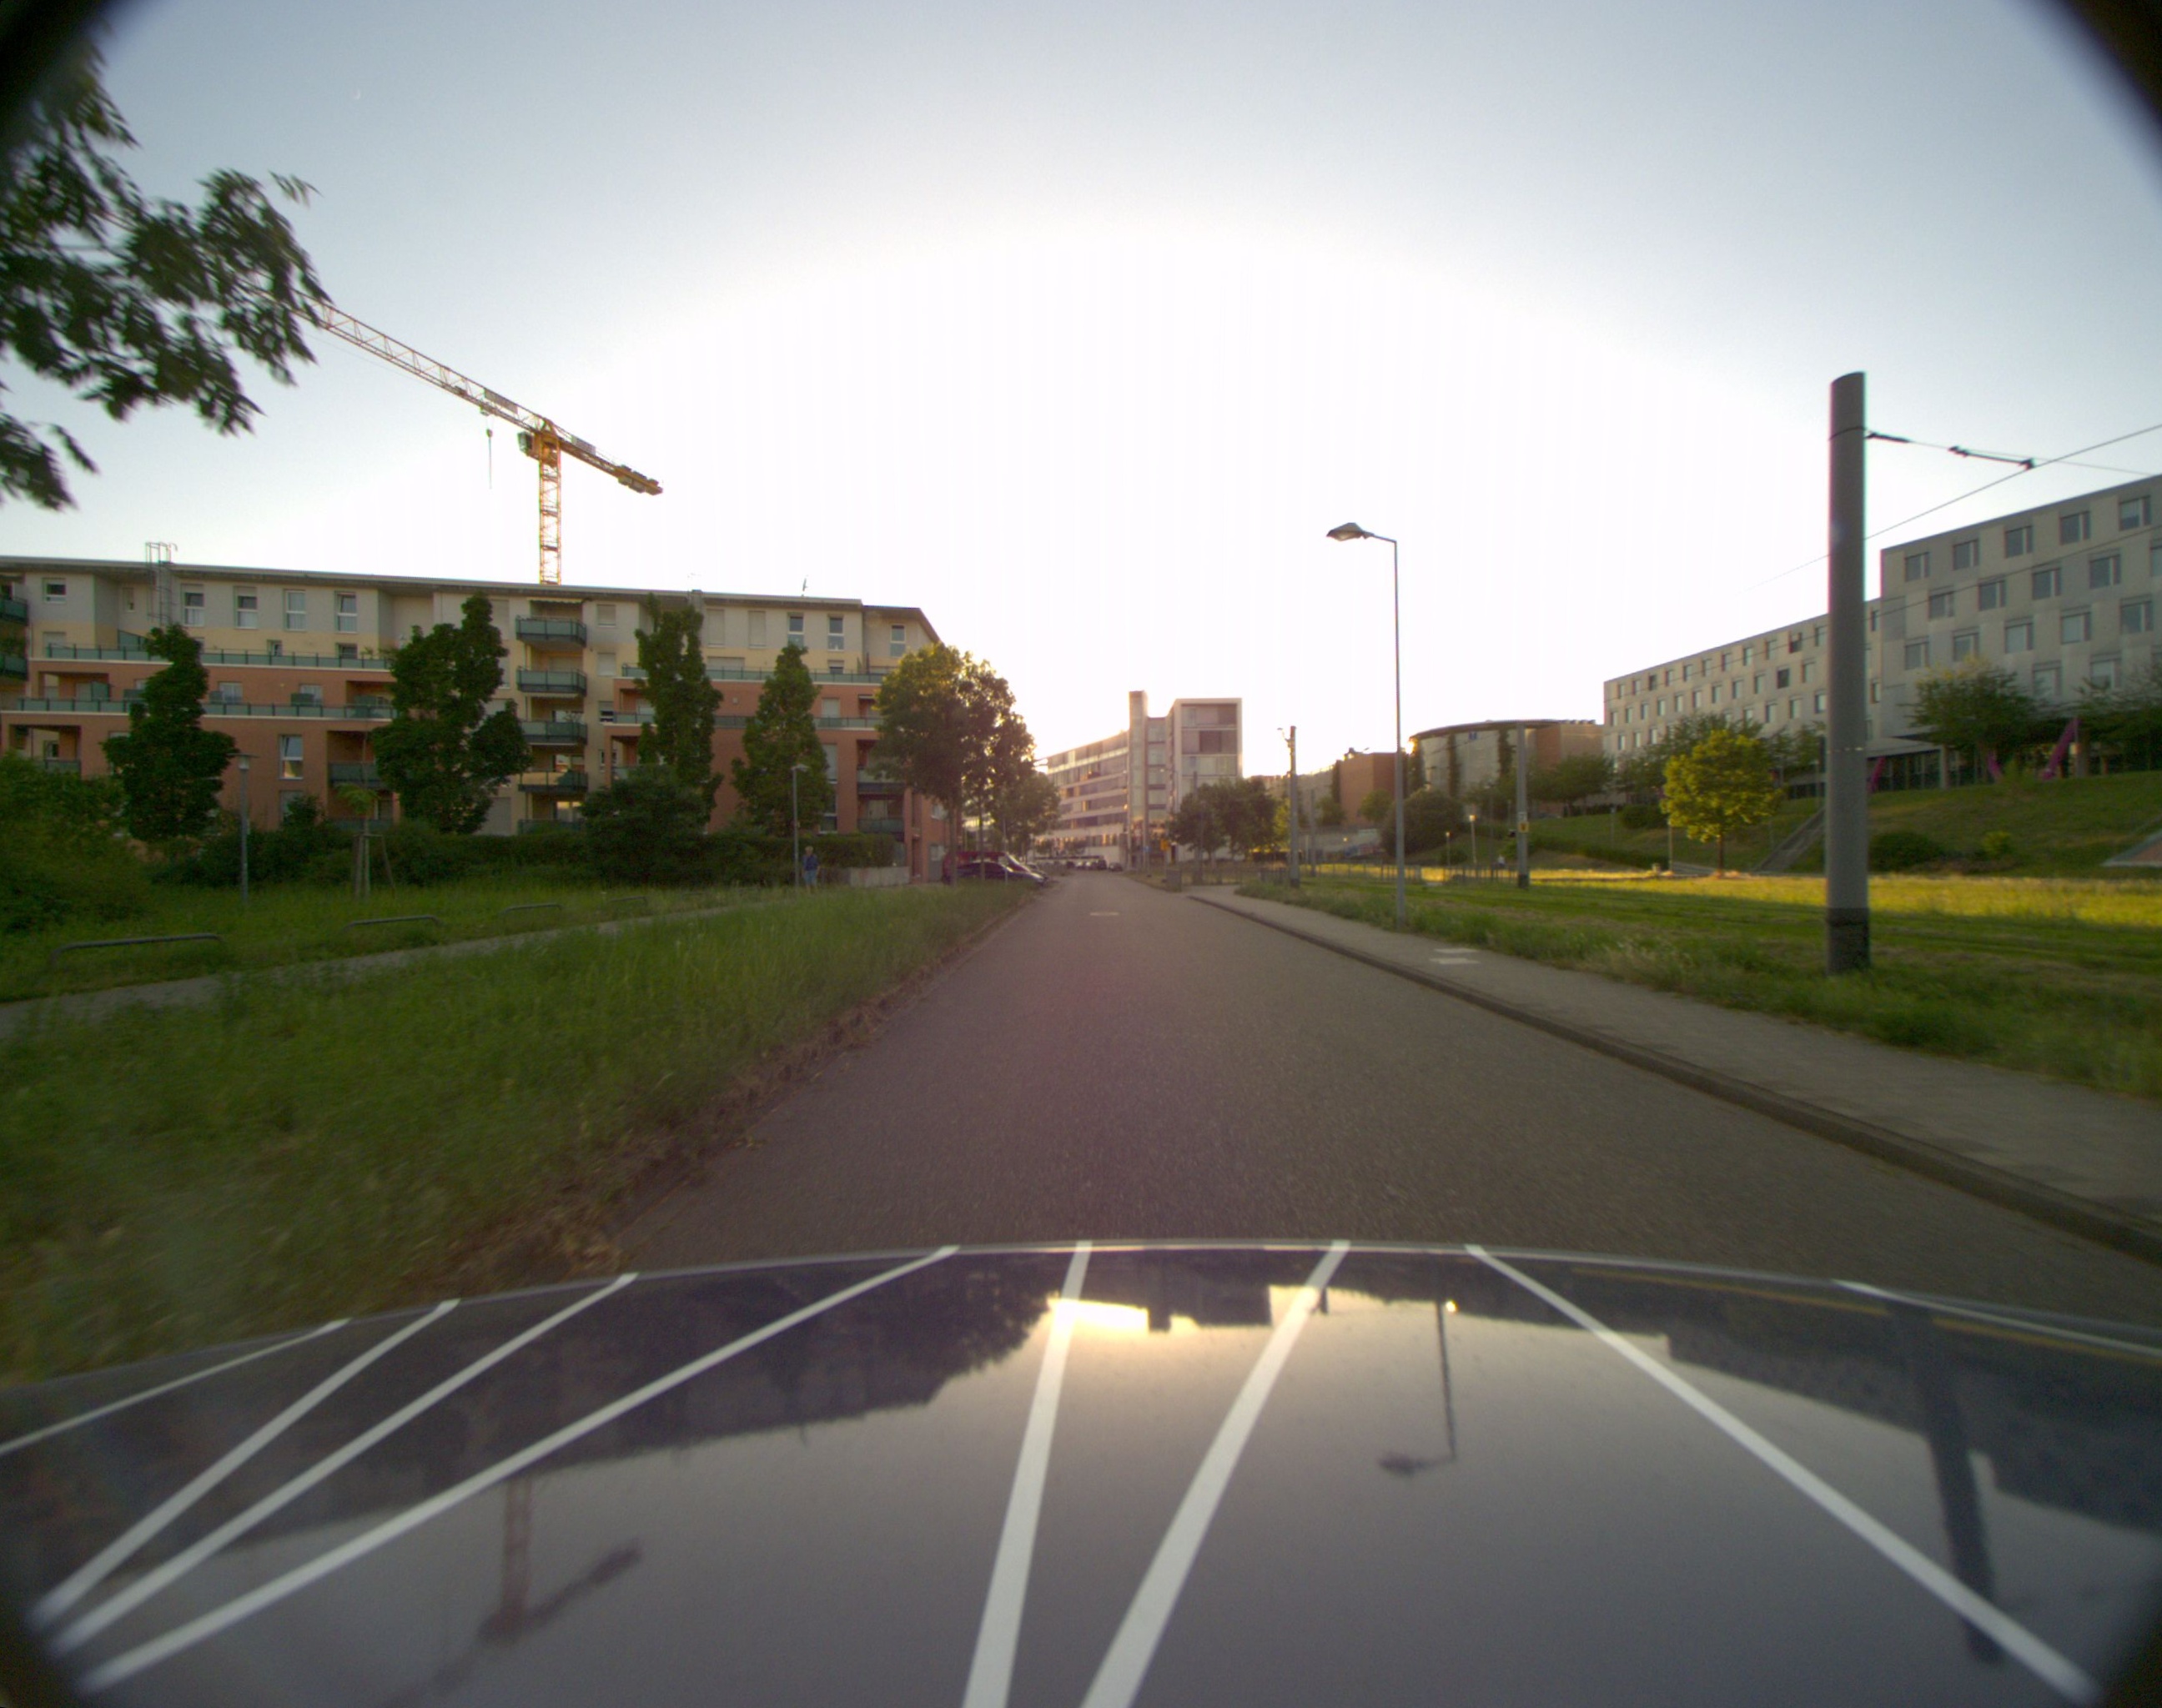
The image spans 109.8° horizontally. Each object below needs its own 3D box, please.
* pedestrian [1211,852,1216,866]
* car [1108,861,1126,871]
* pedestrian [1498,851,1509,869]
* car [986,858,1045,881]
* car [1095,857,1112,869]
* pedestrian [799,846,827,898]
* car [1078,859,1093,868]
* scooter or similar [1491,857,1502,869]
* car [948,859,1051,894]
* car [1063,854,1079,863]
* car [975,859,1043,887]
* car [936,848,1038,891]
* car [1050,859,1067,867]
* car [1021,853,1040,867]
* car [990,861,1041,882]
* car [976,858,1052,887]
[{"bbox_3d":[18.299,0.671,104.748,0.450,1.826,0.483,-3,0,-20],"label":"pedestrian"},{"bbox_3d":[5.575,1.773,117.134,1.858,1.433,4.225,-3,0,-9],"label":"car"},{"bbox_3d":[43.501,0.582,78.168,0.618,1.826,0.790,-3,0,-1],"label":"pedestrian"},{"bbox_3d":[-4.615,1.118,54.076,4.060,1.559,1.673,1,0,1],"label":"car"},{"bbox_3d":[3.757,1.498,128.363,1.895,1.961,4.514,-3,0,-10],"label":"car"},{"bbox_3d":[-9.050,0.597,25.645,0.670,1.733,0.699,-1,0,0],"label":"pedestrian"},{"bbox_3d":[0.802,1.737,137.758,1.655,1.468,3.760,-1,0,-19],"label":"car"},{"bbox_3d":[43.282,0.946,79.132,0.618,1.236,0.790,-3,0,-1],"label":"scooter or similar"},{"bbox_3d":[-3.804,1.050,36.102,4.681,1.547,1.811,-1,0,0],"label":"car"},{"bbox_3d":[-1.963,0.913,144.999,1.799,1.676,3.993,-1,0,-22],"label":"car"},{"bbox_3d":[-3.889,1.033,41.488,3.534,1.456,1.615,1,0,1],"label":"car"},{"bbox_3d":[-4.747,0.782,38.867,4.931,2.104,2.017,-1,0,2],"label":"car"},{"bbox_3d":[-4.532,1.736,152.141,1.800,1.542,3.991,-3,1,-27],"label":"car"},{"bbox_3d":[-10.992,1.371,164.844,2.008,2.858,6.243,0,-1,-24],"label":"car"},{"bbox_3d":[-4.861,1.316,56.708,3.760,1.465,1.612,-1,1,-4],"label":"car"},{"bbox_3d":[-3.821,1.052,43.902,4.226,1.559,1.792,1,0,1],"label":"car"}]
